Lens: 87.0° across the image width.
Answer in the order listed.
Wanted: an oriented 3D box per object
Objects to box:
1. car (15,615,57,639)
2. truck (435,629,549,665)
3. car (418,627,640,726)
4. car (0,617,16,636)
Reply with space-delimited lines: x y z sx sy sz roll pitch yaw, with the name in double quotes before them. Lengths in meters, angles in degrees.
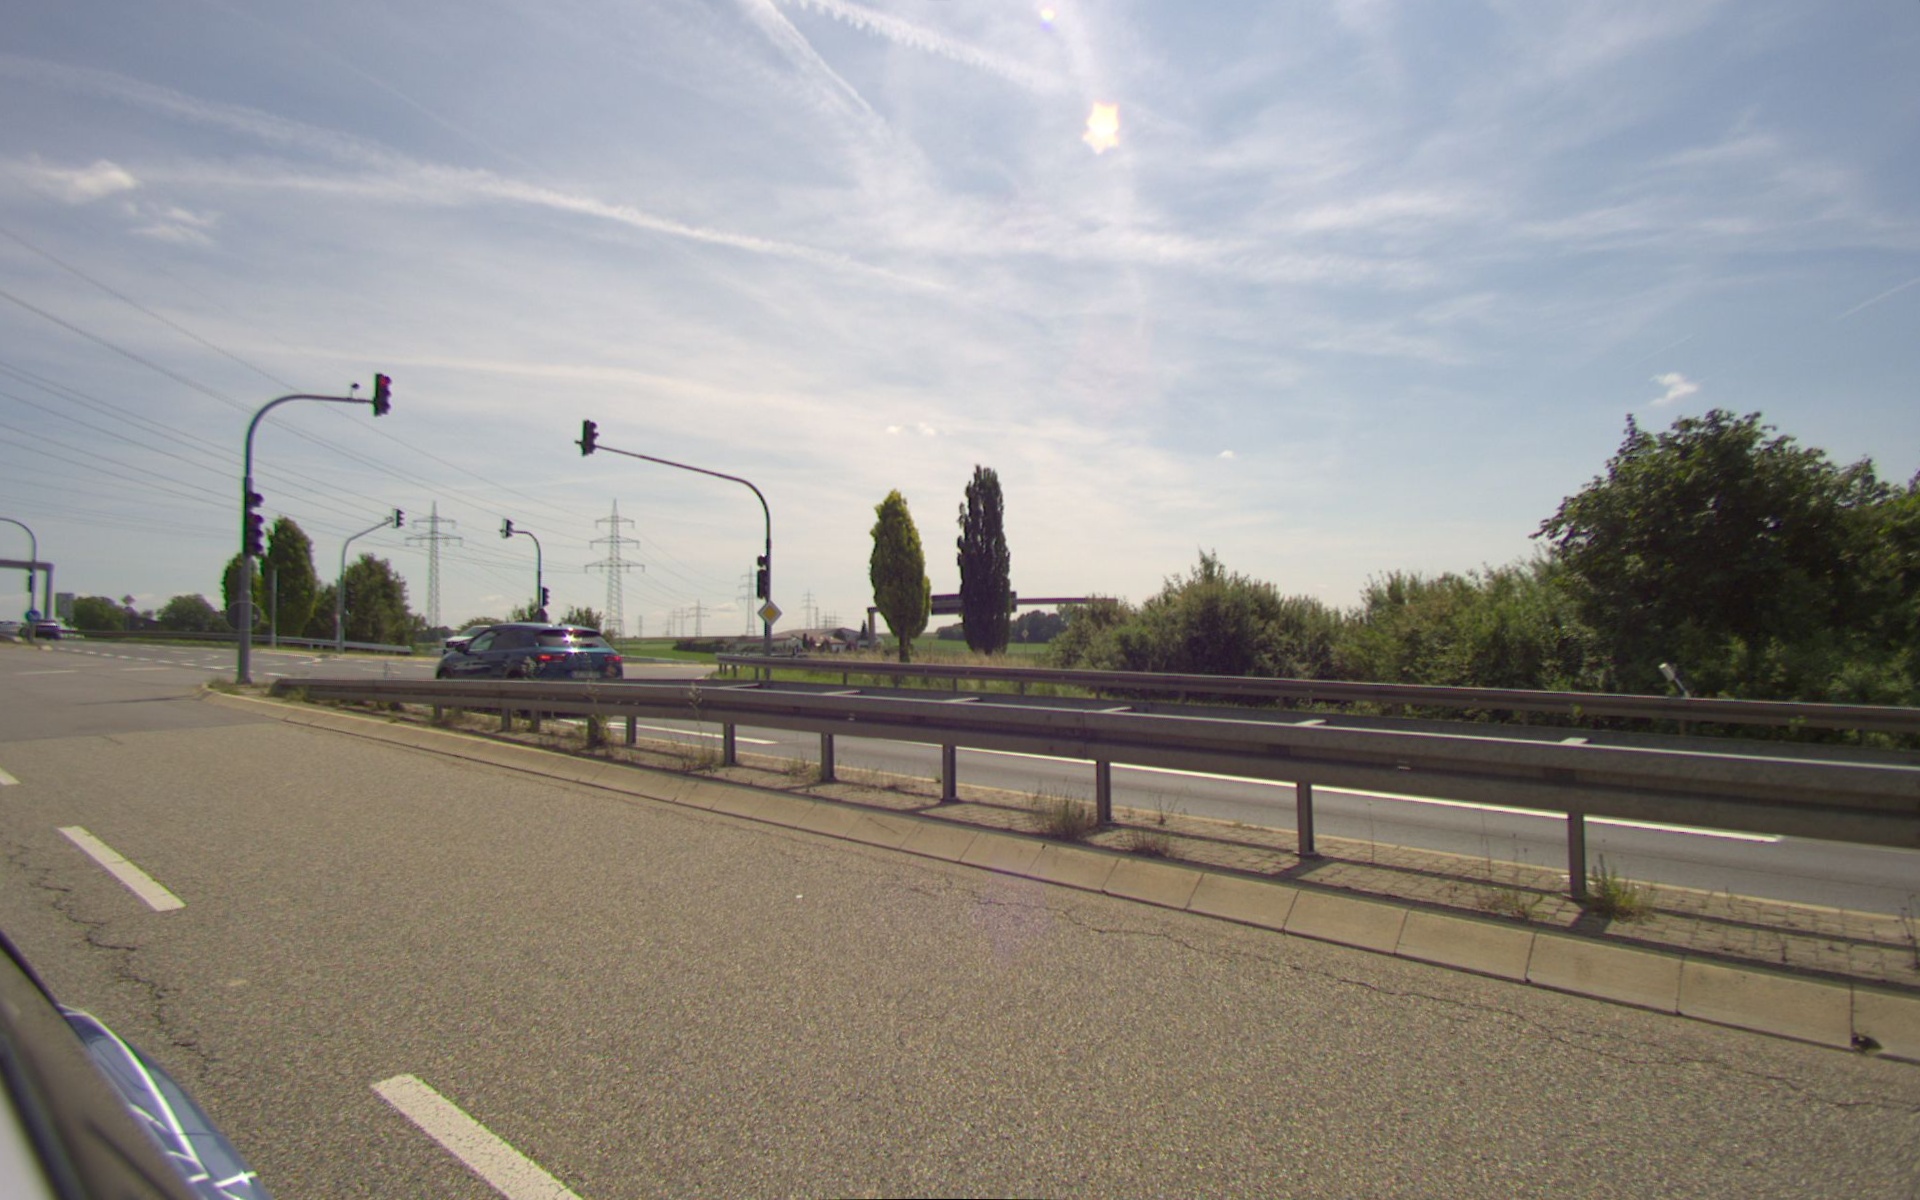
"car" -68.946 2.013 75.519 4.324 1.636 1.628 0 -4 39
"truck" -24.759 2.534 53.738 1.992 1.770 5.227 0 -4 30
"car" -7.413 1.213 17.233 4.192 1.480 1.737 -1 -2 40
"car" -80.940 2.216 85.220 3.799 1.508 1.627 0 -3 41
